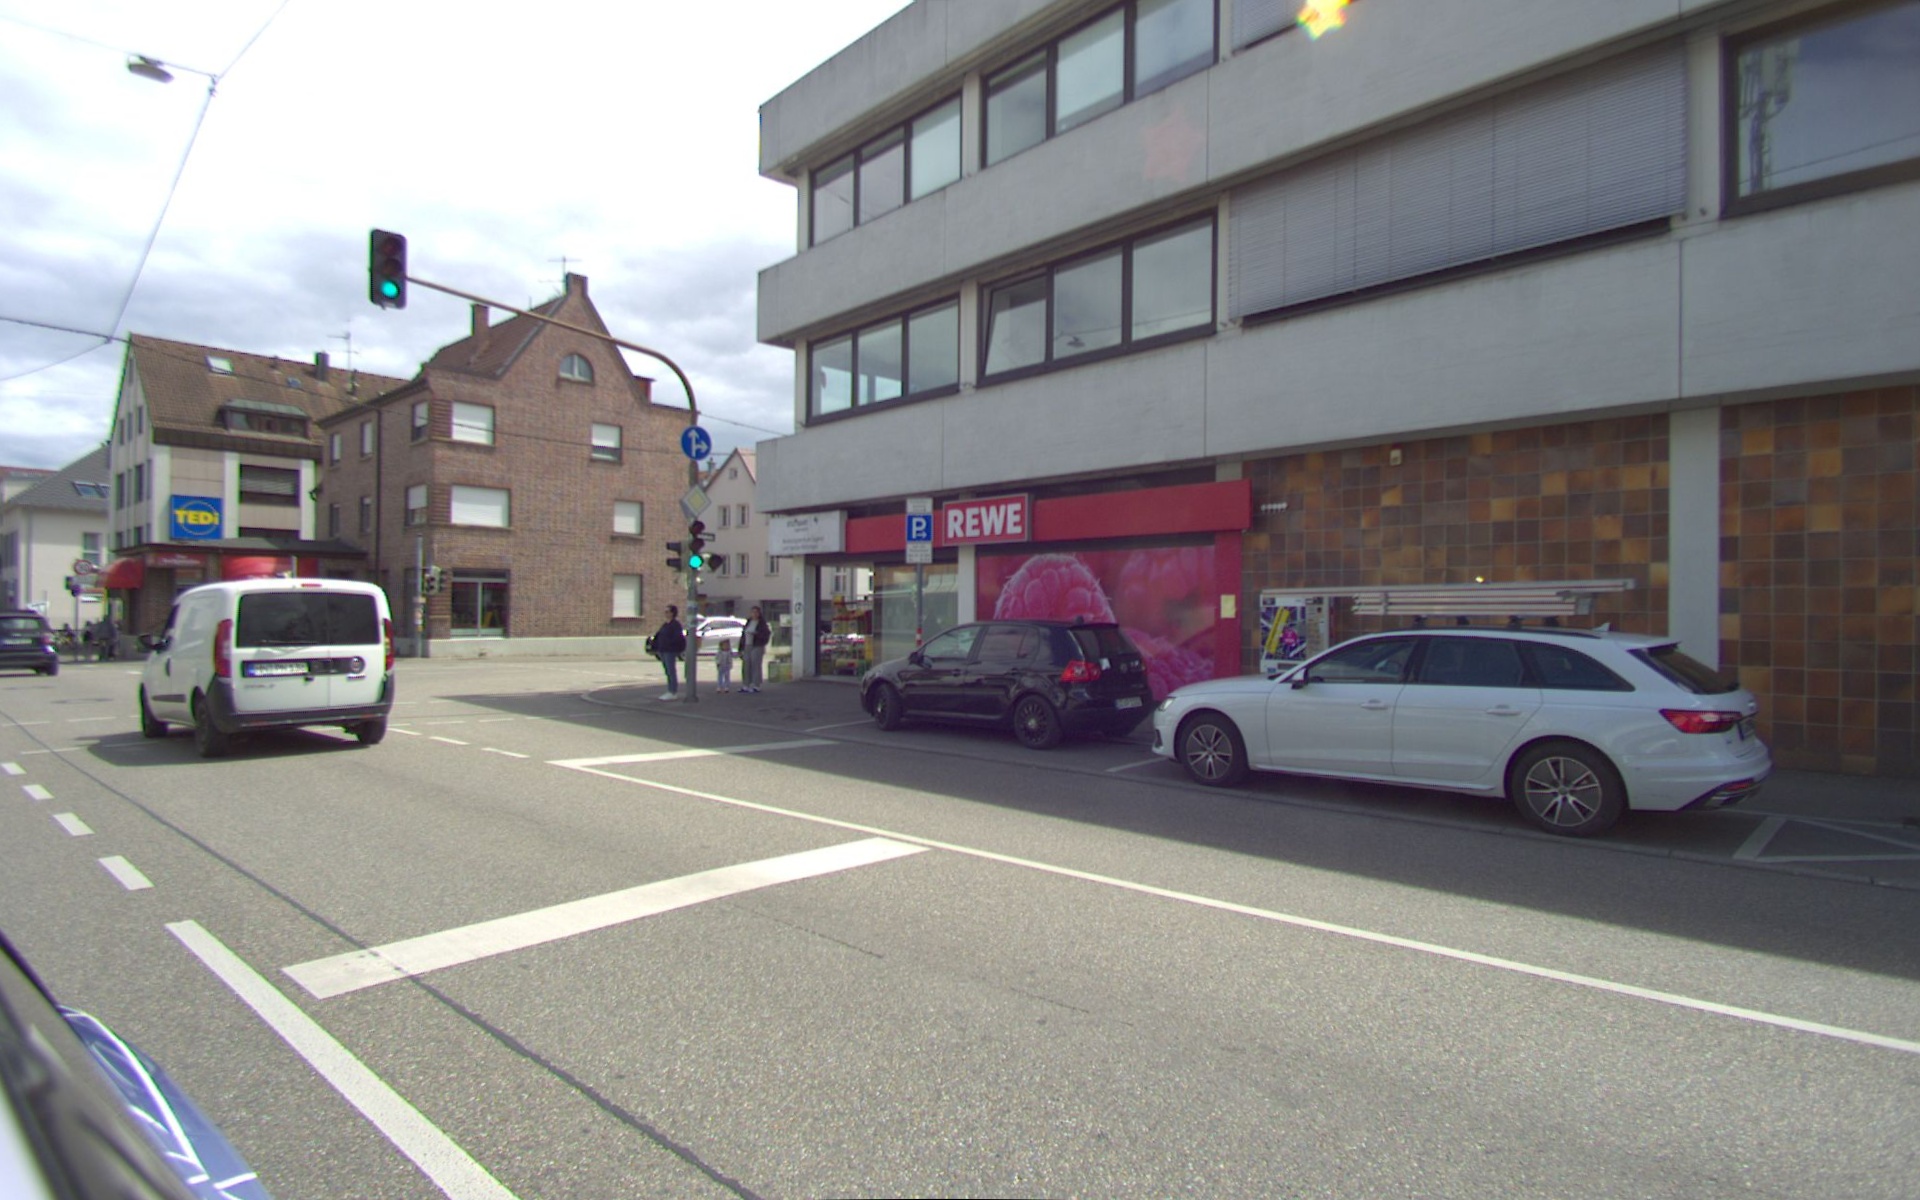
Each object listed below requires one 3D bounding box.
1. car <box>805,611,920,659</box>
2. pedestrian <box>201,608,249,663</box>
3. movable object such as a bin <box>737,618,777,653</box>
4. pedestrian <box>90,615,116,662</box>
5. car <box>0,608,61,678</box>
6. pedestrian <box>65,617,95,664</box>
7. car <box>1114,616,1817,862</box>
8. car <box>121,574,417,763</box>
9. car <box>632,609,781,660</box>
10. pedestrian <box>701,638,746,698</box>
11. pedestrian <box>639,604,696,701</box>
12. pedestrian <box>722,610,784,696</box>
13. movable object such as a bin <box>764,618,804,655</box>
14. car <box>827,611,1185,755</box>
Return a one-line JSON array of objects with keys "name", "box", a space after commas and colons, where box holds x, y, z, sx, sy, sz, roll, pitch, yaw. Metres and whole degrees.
[{"name": "car", "box": [-3.761, 1.347, 39.604, 2.000, 1.768, 4.291, -1, -2, 42]}, {"name": "pedestrian", "box": [-23.422, 1.134, 32.264, 0.839, 1.736, 0.906, 0, -2, 0]}, {"name": "movable object such as a bin", "box": [-9.872, 1.720, 49.168, 1.145, 1.637, 1.498, 0, 0, 45]}, {"name": "pedestrian", "box": [-31.963, 1.435, 37.739, 0.674, 1.729, 0.878, 2, -2, -42]}, {"name": "car", "box": [-23.653, 1.048, 25.070, 2.831, 1.648, 1.659, -1, -2, 40]}, {"name": "pedestrian", "box": [-32.435, 1.484, 37.299, 0.768, 1.708, 0.796, 2, -2, -42]}, {"name": "car", "box": [3.927, 0.888, 8.595, 2.021, 1.455, 4.955, 0, -1, -45]}, {"name": "car", "box": [-8.309, 0.718, 12.026, 4.277, 1.835, 1.925, -1, -2, 42]}, {"name": "car", "box": [-9.484, 1.313, 38.157, 2.001, 1.782, 5.183, -2, -3, 44]}, {"name": "pedestrian", "box": [-4.408, 1.255, 18.858, 0.552, 1.065, 0.663, -1, -1, -42]}, {"name": "pedestrian", "box": [-5.131, 0.902, 17.742, 0.709, 1.657, 0.682, -1, -1, -43]}, {"name": "pedestrian", "box": [-3.924, 0.978, 19.202, 0.809, 1.566, 0.847, -1, -1, -43]}, {"name": "movable object such as a bin", "box": [-8.315, 1.709, 47.859, 1.145, 1.637, 1.498, 0, 0, 45]}, {"name": "car", "box": [0.453, 0.913, 12.869, 4.286, 1.486, 2.022, -1, -1, 44]}]
